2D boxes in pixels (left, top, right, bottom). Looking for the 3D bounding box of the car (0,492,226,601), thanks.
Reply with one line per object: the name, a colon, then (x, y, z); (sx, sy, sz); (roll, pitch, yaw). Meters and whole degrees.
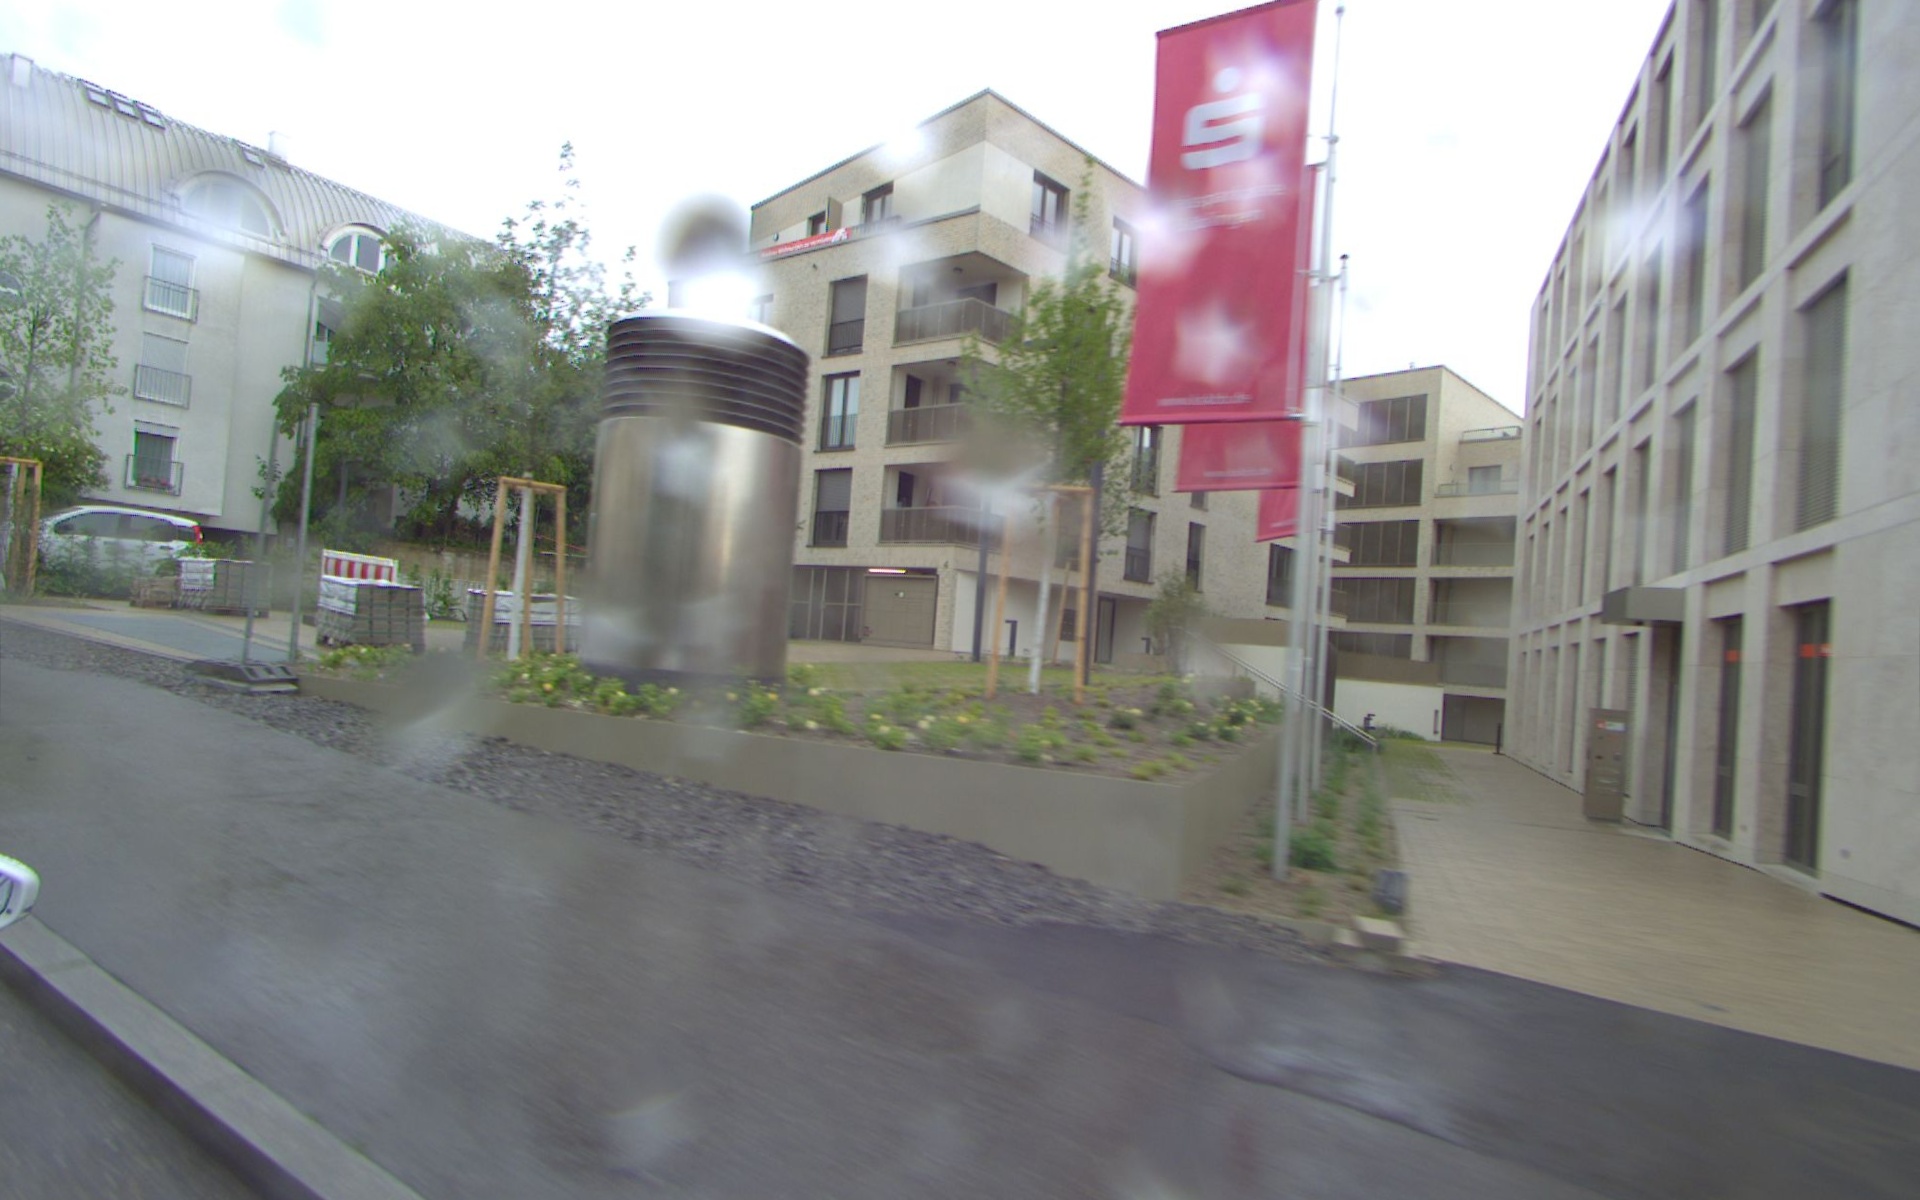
car: (-16.197, -1.007, 18.696); (1.749, 1.520, 3.670); (7, -2, 35)
